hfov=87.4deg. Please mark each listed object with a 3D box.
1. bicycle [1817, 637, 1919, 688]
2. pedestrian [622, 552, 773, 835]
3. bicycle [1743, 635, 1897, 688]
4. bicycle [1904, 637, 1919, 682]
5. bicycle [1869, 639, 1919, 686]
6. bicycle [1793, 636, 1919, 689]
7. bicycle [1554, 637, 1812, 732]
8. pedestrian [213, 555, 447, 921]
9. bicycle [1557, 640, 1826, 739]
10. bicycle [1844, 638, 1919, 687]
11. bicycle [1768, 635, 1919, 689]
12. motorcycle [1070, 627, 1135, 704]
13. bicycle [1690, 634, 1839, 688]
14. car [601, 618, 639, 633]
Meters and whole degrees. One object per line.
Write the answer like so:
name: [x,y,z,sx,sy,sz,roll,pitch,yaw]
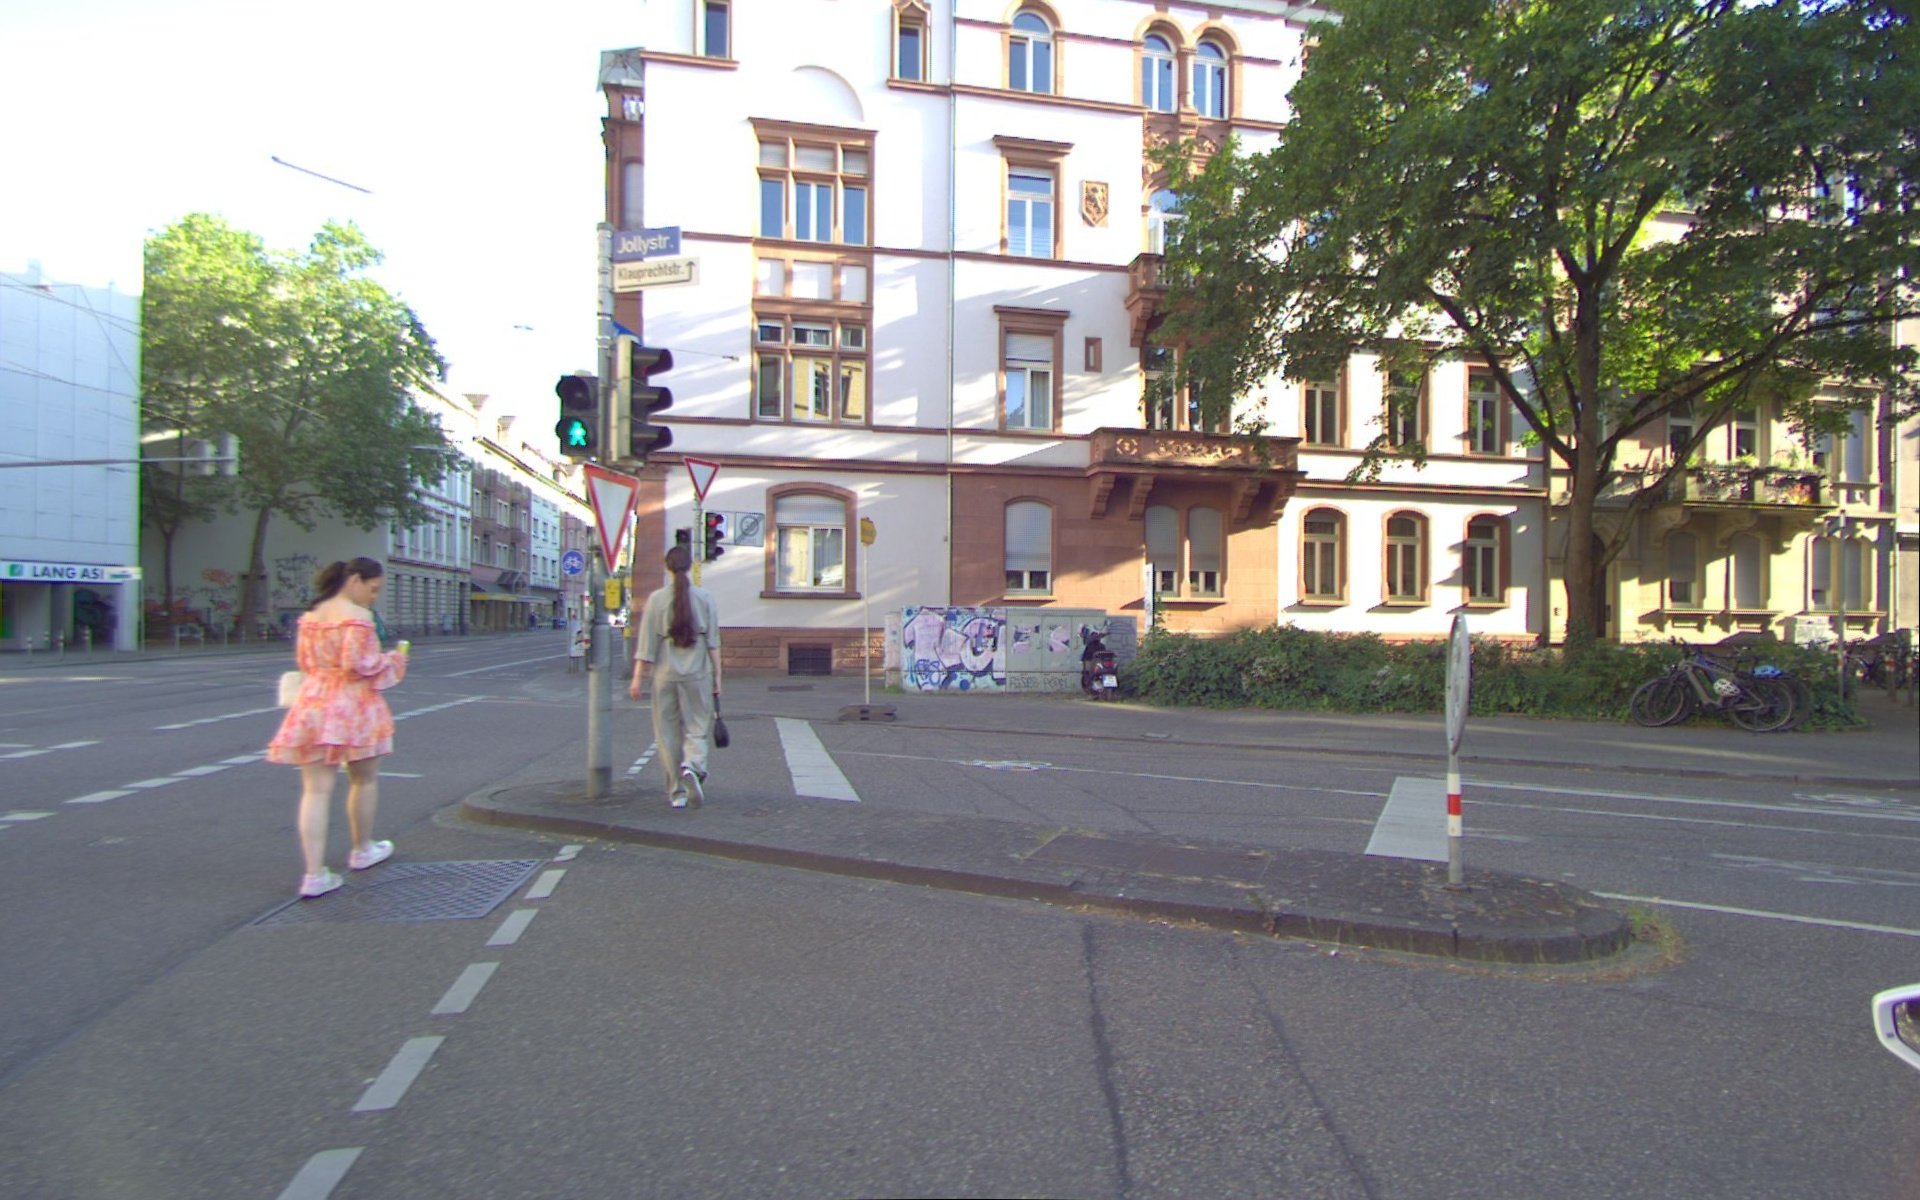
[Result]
bicycle: [23.560,1.564,25.383,0.738,1.196,3.131,0,-1,-10]
pedestrian: [-1.780,0.584,6.726,0.857,1.720,0.979,1,-1,-21]
bicycle: [21.216,1.479,24.914,0.738,1.196,3.131,0,-1,-10]
bicycle: [26.308,1.577,25.826,0.738,1.196,3.131,0,-1,-10]
bicycle: [25.196,1.625,25.658,0.738,1.196,3.131,0,-1,-10]
bicycle: [22.780,1.535,25.216,0.738,1.196,3.131,0,-1,-10]
bicycle: [10.117,1.156,14.215,2.905,1.212,0.547,0,-1,28]
pedestrian: [-3.276,0.662,5.341,0.857,1.720,0.979,1,-1,-21]
bicycle: [9.845,1.174,13.686,2.905,1.212,0.547,0,-1,28]
bicycle: [24.383,1.594,25.490,0.738,1.196,3.131,0,-1,-10]
bicycle: [21.980,1.505,25.050,0.738,1.196,3.131,0,-1,-10]
motorcycle: [2.503,1.123,17.909,0.826,1.282,2.110,0,-1,-1]
bicycle: [19.582,1.461,24.595,0.738,1.196,3.131,0,-1,-10]
car: [-47.813,3.553,141.306,4.670,2.040,2.287,1,-1,-10]
